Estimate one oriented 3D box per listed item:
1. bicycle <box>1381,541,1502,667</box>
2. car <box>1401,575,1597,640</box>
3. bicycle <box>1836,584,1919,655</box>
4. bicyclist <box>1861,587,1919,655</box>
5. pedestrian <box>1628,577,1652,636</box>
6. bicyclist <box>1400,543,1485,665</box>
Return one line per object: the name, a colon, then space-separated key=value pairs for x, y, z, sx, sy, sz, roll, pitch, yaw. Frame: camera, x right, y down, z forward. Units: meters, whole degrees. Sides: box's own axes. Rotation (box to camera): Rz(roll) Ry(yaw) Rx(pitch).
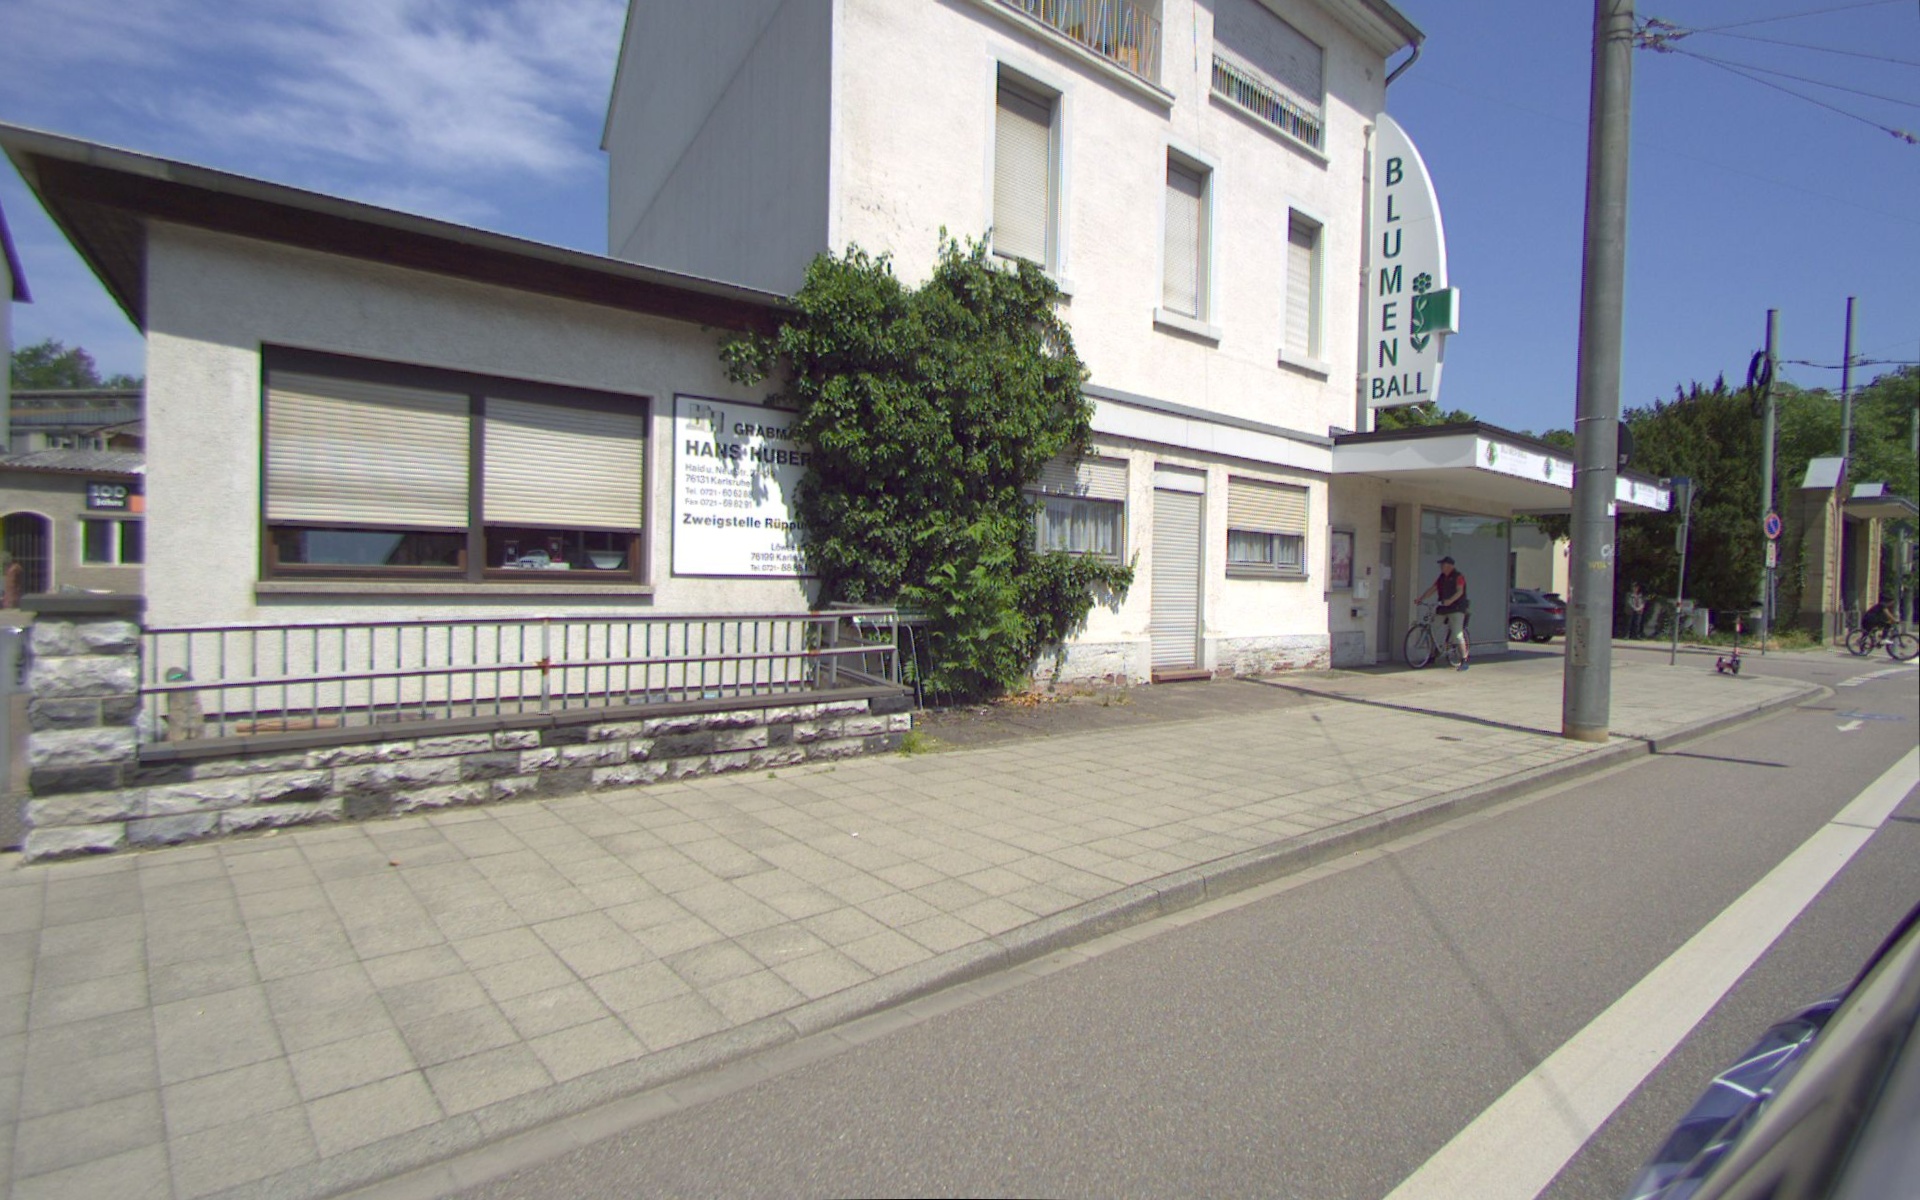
bicycle: x=7.839 y=0.064 z=16.452 sx=1.920 sy=1.923 sz=0.801 roll=1 pitch=3 yaw=-34
car: x=14.768 y=0.168 z=27.945 sx=1.567 sy=1.475 sz=4.460 roll=2 pitch=2 yaw=-41
bicycle: x=23.927 y=0.509 z=25.834 sx=2.023 sy=1.608 sz=0.886 roll=6 pitch=4 yaw=18
bicyclist: x=23.934 y=0.533 z=25.830 sx=0.973 sy=1.596 sz=0.864 roll=6 pitch=4 yaw=17
pedestrian: x=18.685 y=0.171 z=27.794 sx=0.532 sy=1.618 sz=0.420 roll=0 pitch=0 yaw=36
bicyclist: x=7.856 y=0.053 z=16.474 sx=0.870 sy=1.897 sz=0.792 roll=1 pitch=3 yaw=-34
